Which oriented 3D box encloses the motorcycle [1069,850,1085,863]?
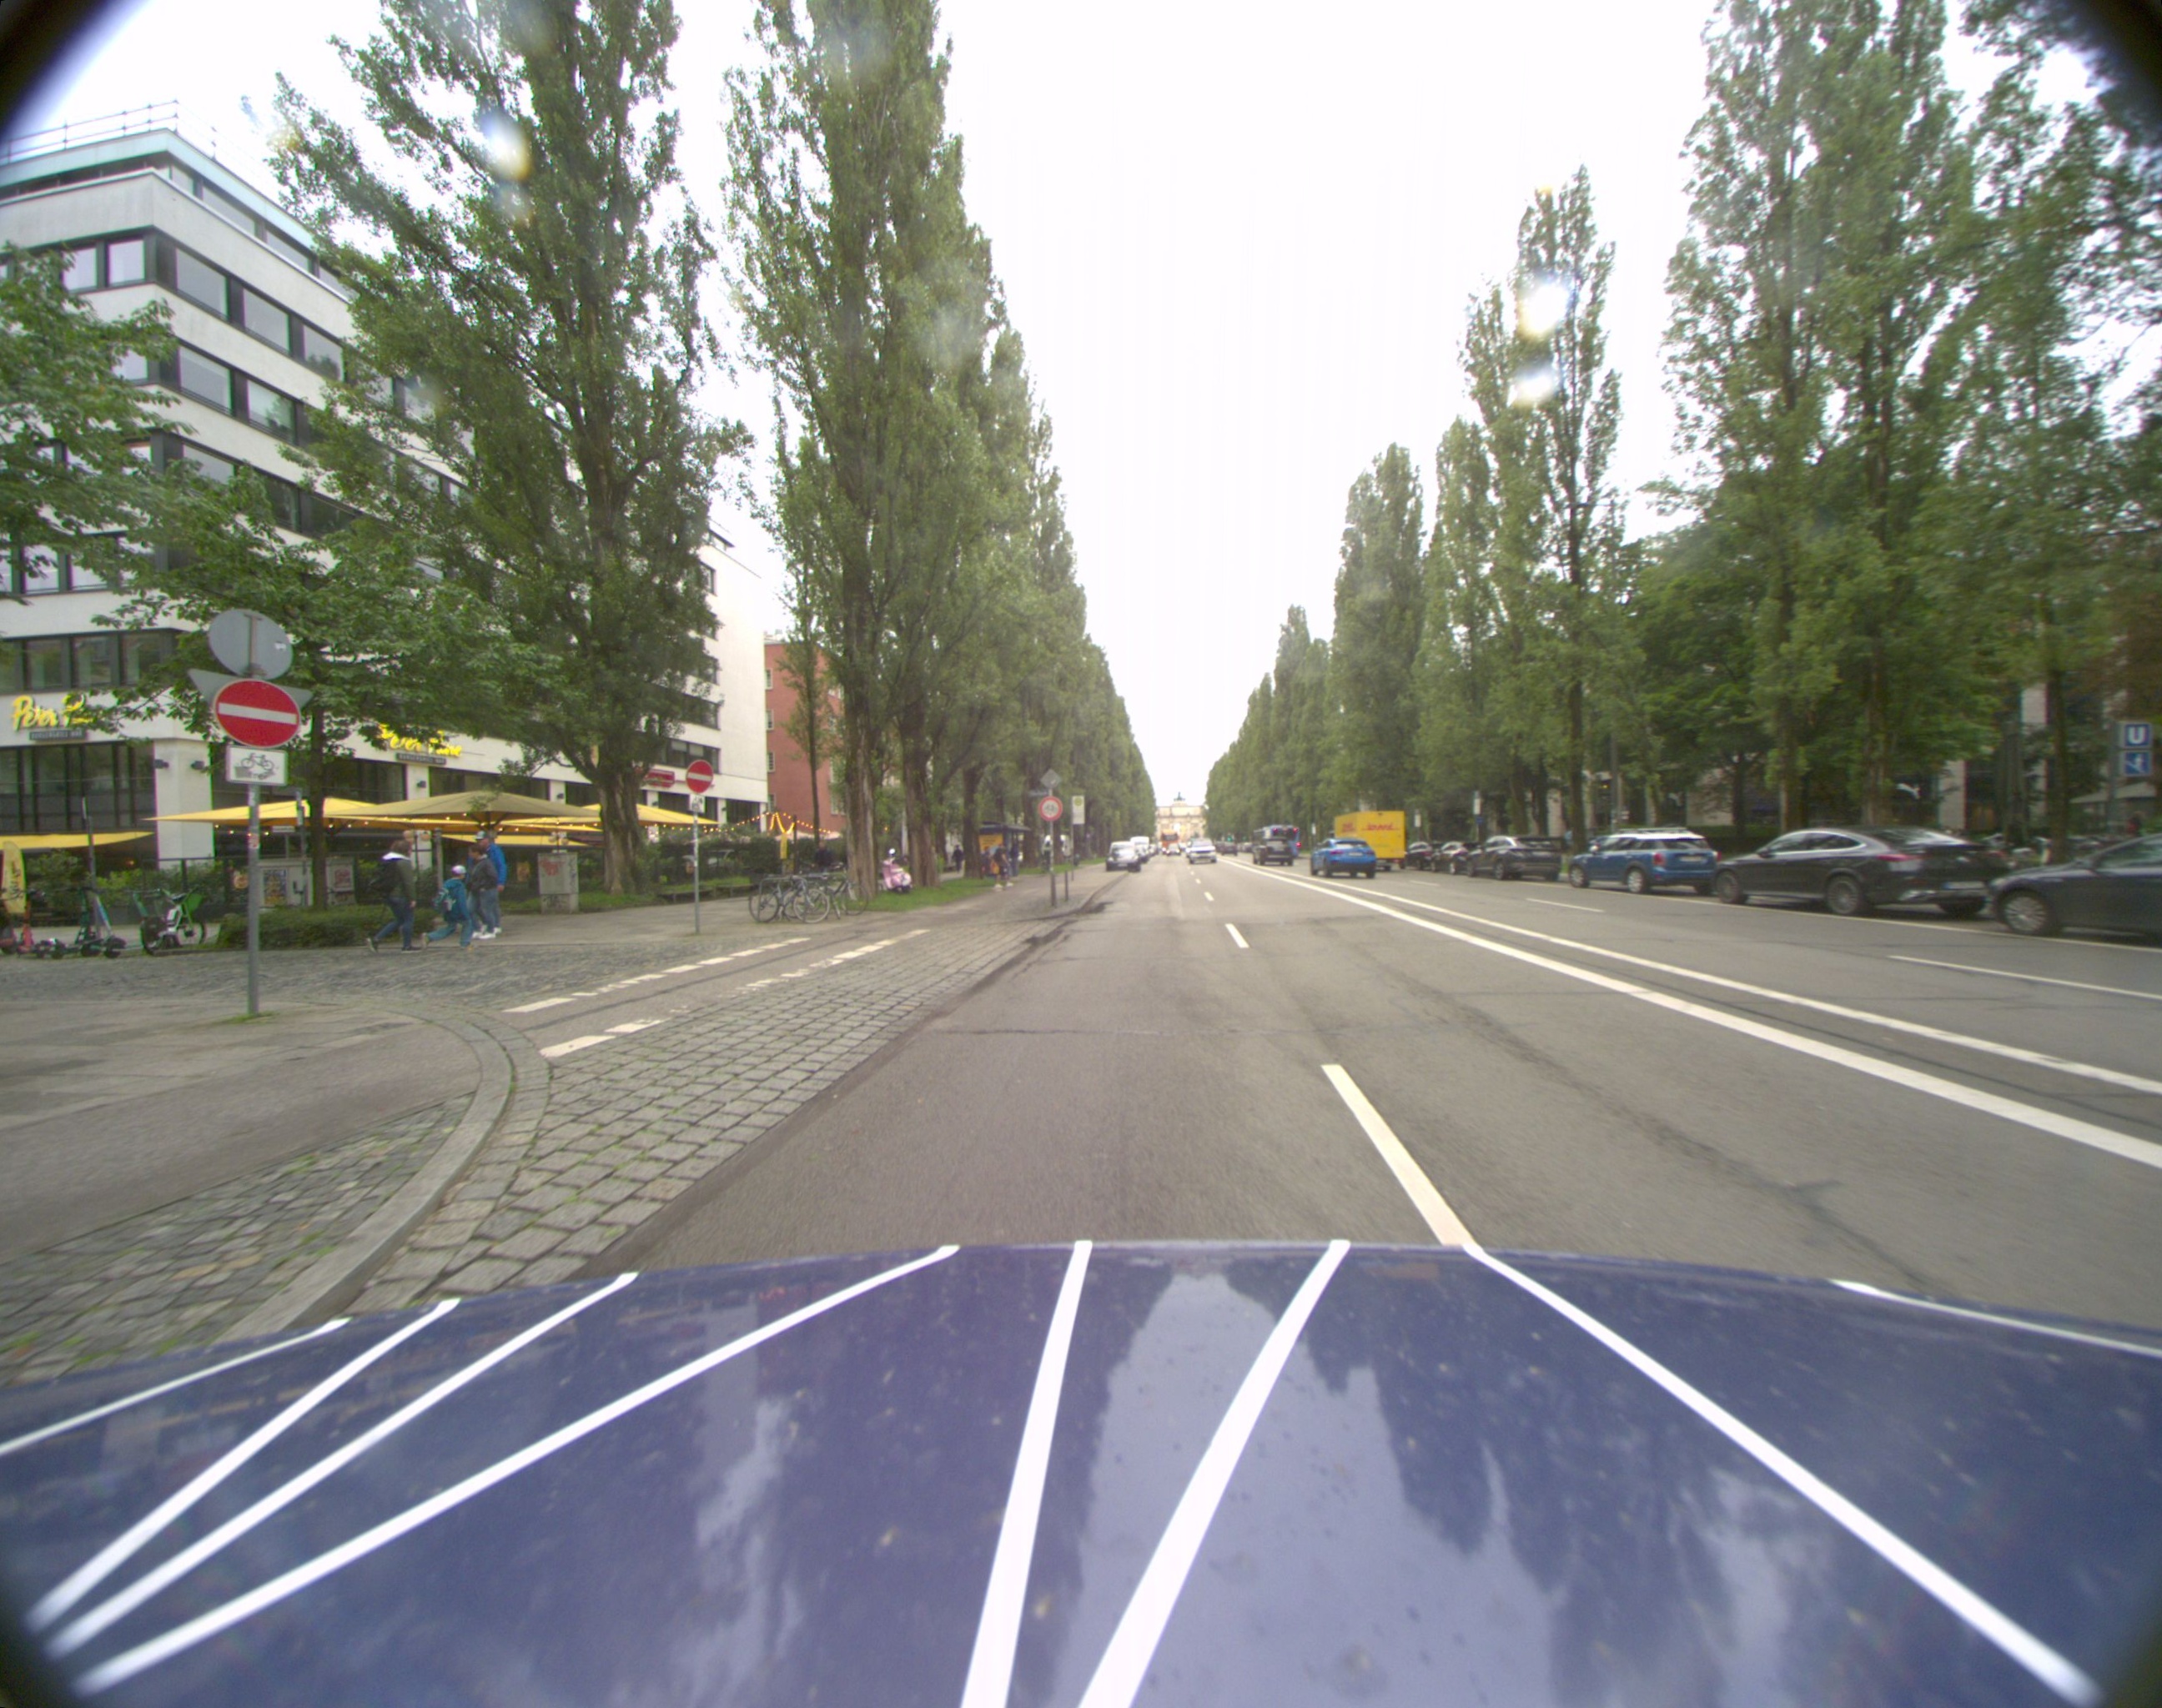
[{"bbox_3d":[-0.322,0.189,55.190,0.468,0.933,1.659,-2,1,-26],"label":"motorcycle"}]

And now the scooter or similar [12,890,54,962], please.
[{"bbox_3d":[-19.454,1.308,14.120,1.354,1.265,0.328,-2,0,40],"label":"scooter or similar"}]

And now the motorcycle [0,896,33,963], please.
[{"bbox_3d":[-20.200,1.393,13.908,0.772,1.188,1.986,-1,-1,-42],"label":"motorcycle"}]

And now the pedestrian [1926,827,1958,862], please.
[{"bbox_3d":[42.538,-0.467,37.549,0.731,1.704,0.709,-1,1,4],"label":"pedestrian"}]

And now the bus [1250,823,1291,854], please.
[{"bbox_3d":[19.884,-1.588,80.278,2.923,3.034,9.800,-1,0,6],"label":"bus"}]

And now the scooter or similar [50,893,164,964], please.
[{"bbox_3d":[-17.708,1.329,13.849,0.327,1.137,1.251,-1,1,7],"label":"scooter or similar"}]

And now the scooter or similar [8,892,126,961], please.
[{"bbox_3d":[-19.104,1.347,14.344,1.252,1.173,0.389,-2,2,-26],"label":"scooter or similar"}]

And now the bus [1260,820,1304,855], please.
[{"bbox_3d":[18.918,-1.504,71.990,2.923,3.034,8.521,-1,0,7],"label":"bus"}]

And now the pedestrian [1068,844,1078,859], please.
[{"bbox_3d":[-0.920,-0.302,84.692,0.889,1.683,0.768,-1,1,10],"label":"pedestrian"}]

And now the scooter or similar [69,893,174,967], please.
[{"bbox_3d":[-16.938,1.310,13.453,0.370,1.137,1.428,-2,1,-17],"label":"scooter or similar"}]

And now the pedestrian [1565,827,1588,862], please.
[{"bbox_3d":[24.956,-0.485,38.270,0.708,1.704,0.732,-1,1,8],"label":"pedestrian"}]

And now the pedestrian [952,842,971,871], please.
[{"bbox_3d":[-7.085,0.151,45.129,0.889,1.683,0.768,-1,1,10],"label":"pedestrian"}]

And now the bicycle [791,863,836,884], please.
[{"bbox_3d":[-12.222,0.892,34.741,1.800,0.907,0.620,-1,1,4],"label":"bicycle"}]

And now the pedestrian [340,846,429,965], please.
[{"bbox_3d":[-10.311,0.739,11.266,0.662,1.691,0.691,-1,1,22],"label":"pedestrian"}]

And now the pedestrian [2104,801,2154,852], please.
[{"bbox_3d":[35.725,-0.931,25.903,0.738,1.704,0.889,-2,2,-27],"label":"pedestrian"}]

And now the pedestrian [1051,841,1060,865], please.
[{"bbox_3d":[-1.831,-0.078,55.254,0.516,1.683,0.486,-1,2,10],"label":"pedestrian"}]

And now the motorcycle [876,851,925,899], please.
[{"bbox_3d":[-5.309,0.586,22.272,0.630,1.190,1.984,-2,6,-37],"label":"motorcycle"}]

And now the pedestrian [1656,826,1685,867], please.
[{"bbox_3d":[25.238,-0.326,32.553,0.708,1.704,0.732,-1,1,8],"label":"pedestrian"}]

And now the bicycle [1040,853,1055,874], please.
[{"bbox_3d":[-1.762,0.483,40.250,0.553,1.016,1.763,-1,1,4],"label":"bicycle"}]

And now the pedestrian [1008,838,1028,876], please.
[{"bbox_3d":[-3.067,0.133,36.927,0.890,1.833,0.768,-1,1,-1],"label":"pedestrian"}]

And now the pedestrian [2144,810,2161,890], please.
[{"bbox_3d":[23.555,-0.089,16.207,0.708,1.704,0.732,-1,1,8],"label":"pedestrian"}]

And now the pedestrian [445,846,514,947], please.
[{"bbox_3d":[-10.557,0.720,13.359,0.704,1.718,0.644,-2,1,-17],"label":"pedestrian"}]

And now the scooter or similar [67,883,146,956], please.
[{"bbox_3d":[-18.495,1.214,14.445,0.328,1.266,1.248,-2,1,-24],"label":"scooter or similar"}]

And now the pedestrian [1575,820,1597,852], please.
[{"bbox_3d":[27.223,-0.949,40.966,0.708,1.704,0.732,-1,1,8],"label":"pedestrian"}]

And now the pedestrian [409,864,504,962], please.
[{"bbox_3d":[-9.473,0.870,11.544,0.816,1.411,0.772,-1,1,22],"label":"pedestrian"}]

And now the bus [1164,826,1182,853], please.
[{"bbox_3d":[14.580,-2.310,120.796,2.646,4.088,9.800,-1,0,7],"label":"bus"}]

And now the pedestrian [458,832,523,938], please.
[{"bbox_3d":[-10.965,0.560,14.135,0.704,1.897,0.644,-2,1,-17],"label":"pedestrian"}]

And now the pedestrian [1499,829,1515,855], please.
[{"bbox_3d":[27.875,-0.798,49.725,0.708,1.704,0.732,-1,1,8],"label":"pedestrian"}]

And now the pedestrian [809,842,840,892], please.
[{"bbox_3d":[-8.808,0.450,26.094,0.735,1.683,0.647,-1,1,10],"label":"pedestrian"}]

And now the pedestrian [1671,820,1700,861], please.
[{"bbox_3d":[25.917,-0.580,32.586,0.708,1.704,0.732,-1,1,8],"label":"pedestrian"}]

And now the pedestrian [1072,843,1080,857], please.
[{"bbox_3d":[-0.591,-0.483,93.356,0.889,1.683,0.768,-1,1,10],"label":"pedestrian"}]

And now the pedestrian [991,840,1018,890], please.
[{"bbox_3d":[-2.767,0.392,27.600,0.751,1.763,0.706,-1,2,11],"label":"pedestrian"}]

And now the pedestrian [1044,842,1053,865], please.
[{"bbox_3d":[-2.352,-0.045,55.307,0.516,1.683,0.486,-1,2,10],"label":"pedestrian"}]
